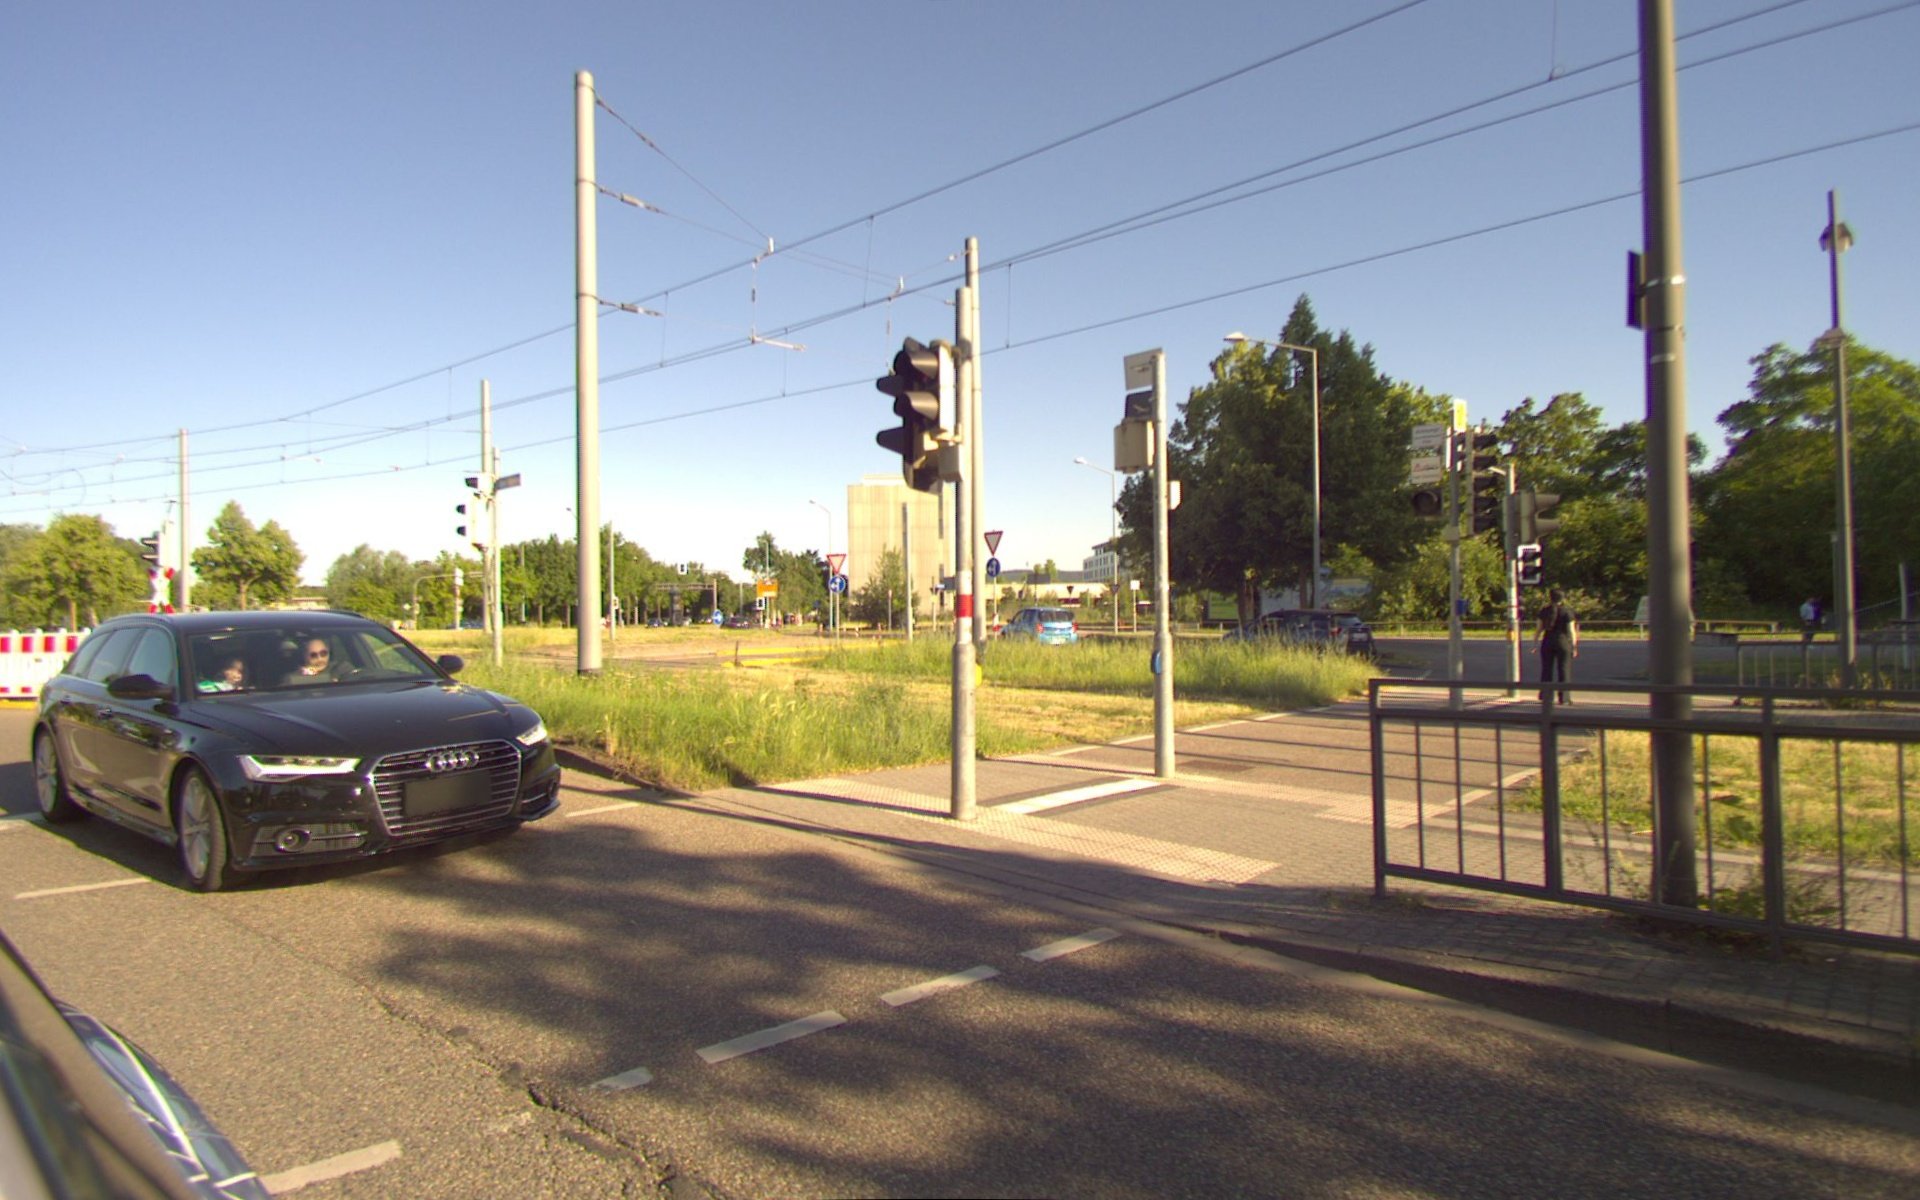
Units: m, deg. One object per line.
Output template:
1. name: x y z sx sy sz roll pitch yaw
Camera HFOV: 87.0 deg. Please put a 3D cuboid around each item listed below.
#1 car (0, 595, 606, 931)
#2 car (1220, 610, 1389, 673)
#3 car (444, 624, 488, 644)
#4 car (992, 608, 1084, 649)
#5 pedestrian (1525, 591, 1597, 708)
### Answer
1. car: -4.532 0.782 6.698 4.589 1.538 1.769 -1 0 34
2. car: 8.292 0.989 24.593 1.637 1.406 3.621 3 -3 -34
3. car: -38.377 2.608 78.675 1.775 1.439 4.016 0 0 -5
4. car: 2.612 0.951 34.785 1.636 1.274 3.633 0 0 -23
5. pedestrian: 8.427 0.677 14.199 0.811 1.590 0.412 0 0 42
